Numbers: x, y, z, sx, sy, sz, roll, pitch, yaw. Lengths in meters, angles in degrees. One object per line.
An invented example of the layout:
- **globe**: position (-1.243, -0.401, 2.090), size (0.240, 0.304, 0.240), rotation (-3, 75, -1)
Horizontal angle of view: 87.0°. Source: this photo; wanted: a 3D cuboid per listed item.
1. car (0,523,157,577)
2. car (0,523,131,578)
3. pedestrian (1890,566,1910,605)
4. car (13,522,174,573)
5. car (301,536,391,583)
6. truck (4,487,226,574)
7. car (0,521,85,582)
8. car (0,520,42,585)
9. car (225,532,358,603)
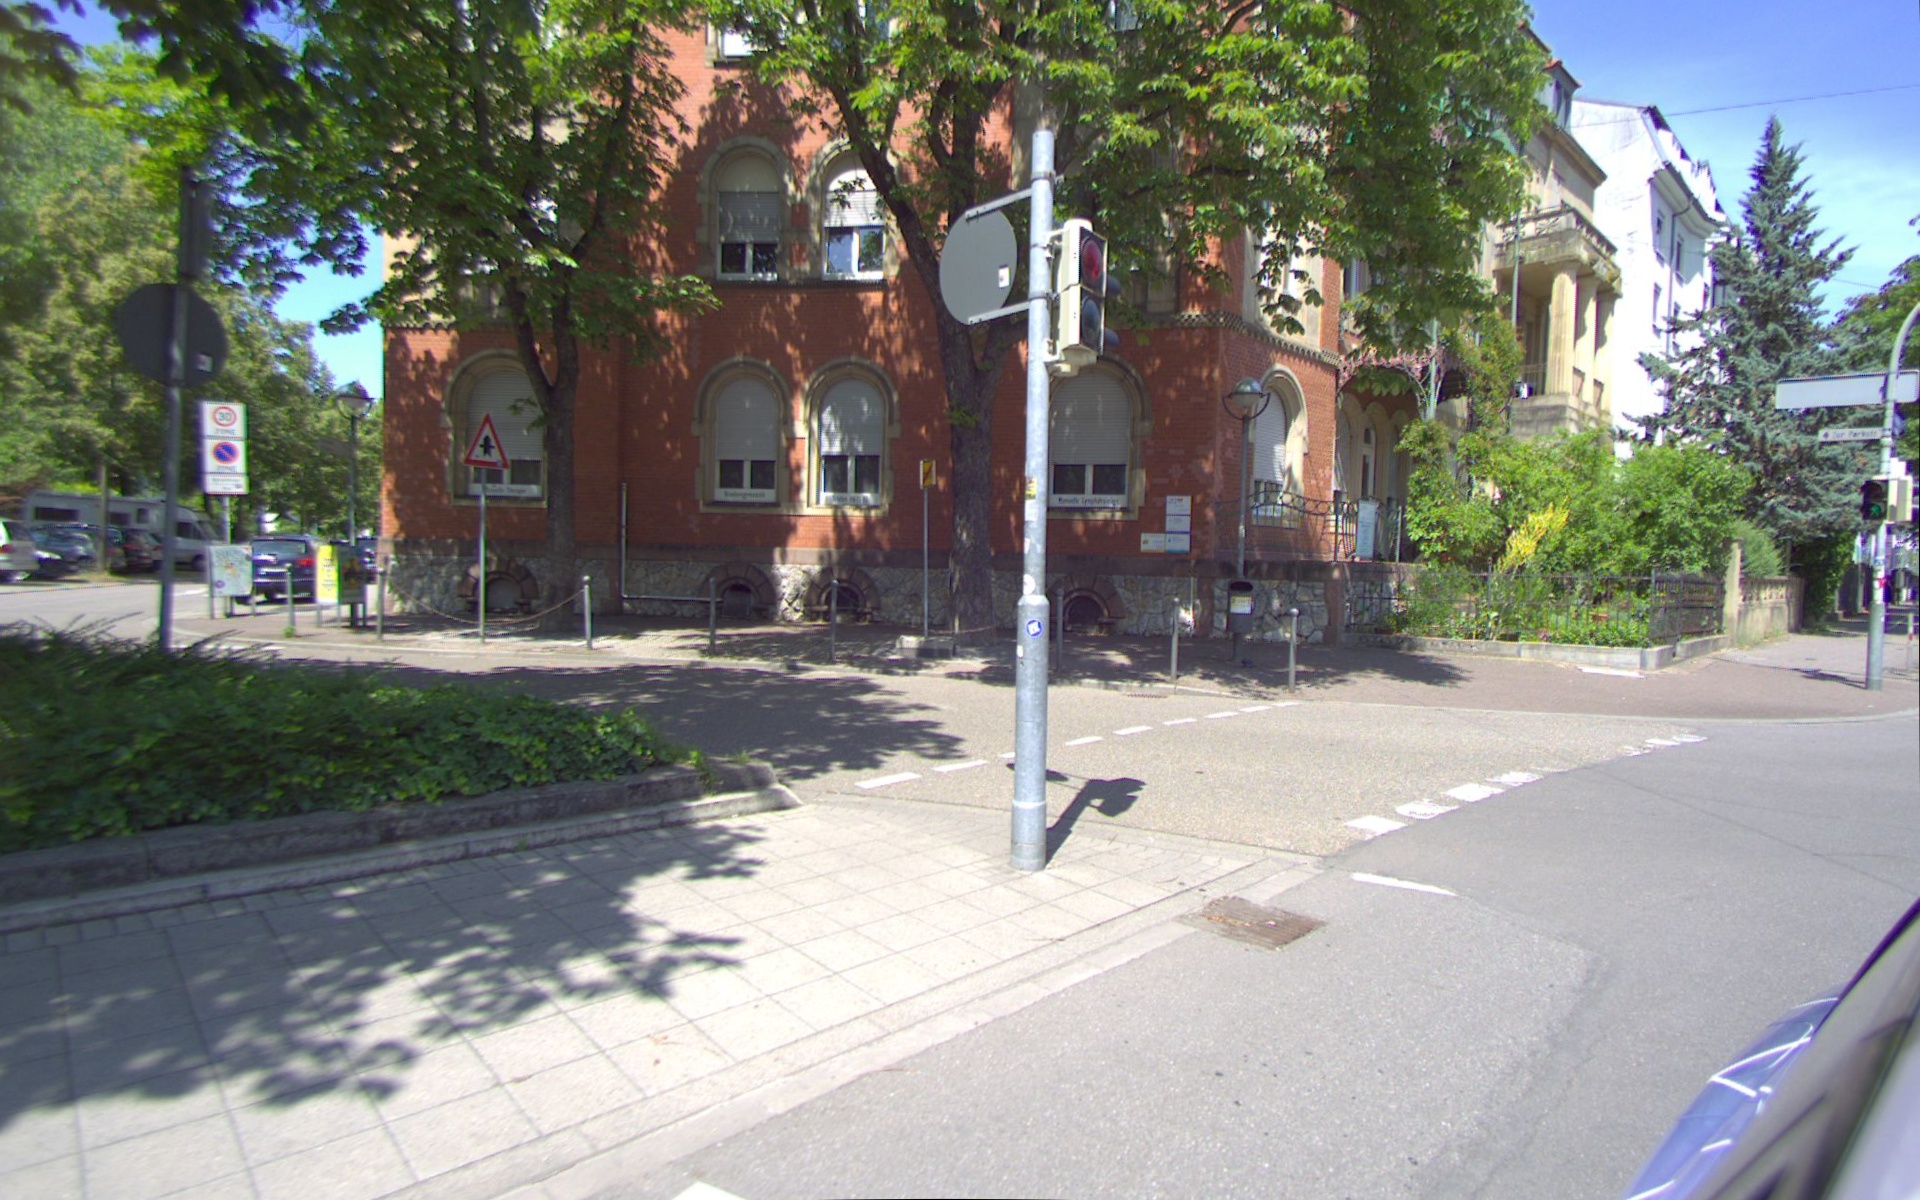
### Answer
- **car**: position (-30.388, -1.700, 34.695), size (4.177, 1.673, 1.730), rotation (1, 2, -26)
- **car**: position (-29.710, -1.596, 32.705), size (4.177, 1.673, 1.730), rotation (1, 2, -26)
- **pedestrian**: position (41.698, -0.660, 44.902), size (0.546, 1.713, 0.743), rotation (4, 4, 45)
- **car**: position (-31.761, -1.906, 37.255), size (4.177, 1.673, 1.730), rotation (1, 2, -26)
- **car**: position (-21.669, -1.453, 35.937), size (1.946, 1.551, 5.502), rotation (-1, 3, -23)
- **truck**: position (-34.435, -2.776, 41.527), size (6.687, 3.192, 1.939), rotation (1, 1, -24)
- **car**: position (-27.613, -1.404, 28.474), size (4.177, 1.673, 1.730), rotation (1, 2, -26)
- **car**: position (-26.706, -1.285, 26.068), size (4.177, 1.673, 1.730), rotation (1, 2, -26)
- **car**: position (-15.356, -0.785, 23.501), size (1.866, 1.459, 4.769), rotation (-1, 3, -25)
